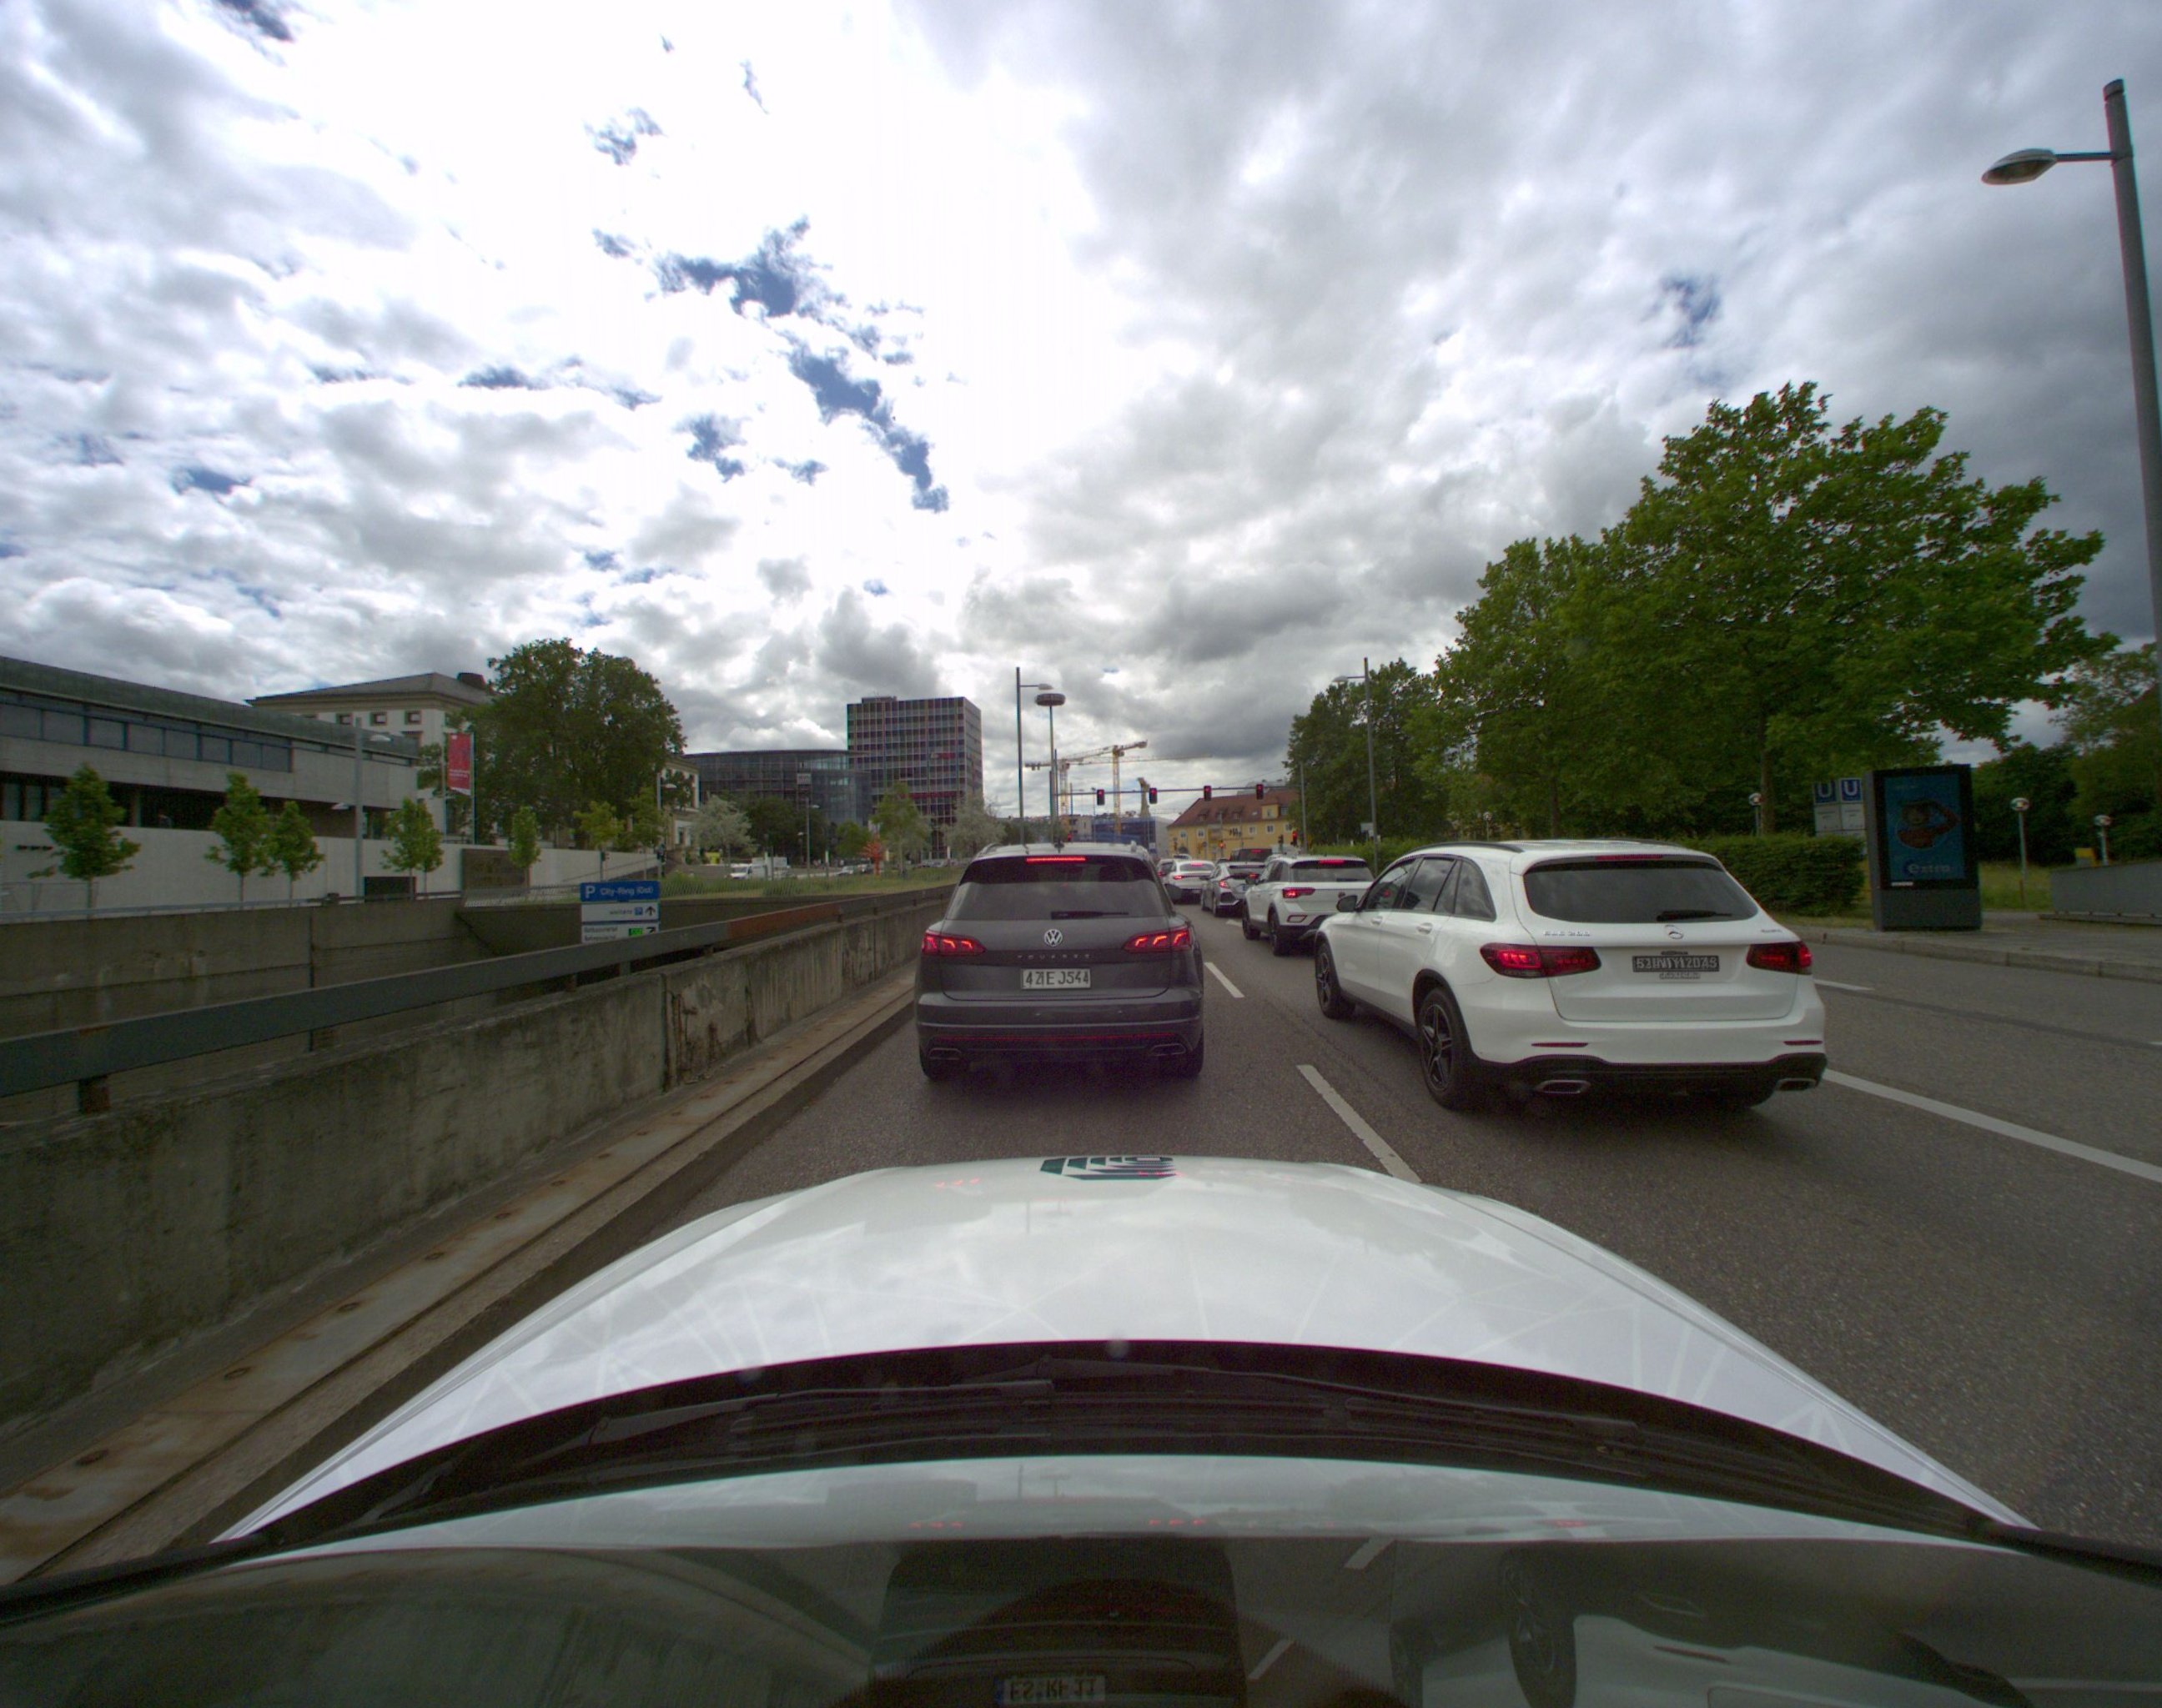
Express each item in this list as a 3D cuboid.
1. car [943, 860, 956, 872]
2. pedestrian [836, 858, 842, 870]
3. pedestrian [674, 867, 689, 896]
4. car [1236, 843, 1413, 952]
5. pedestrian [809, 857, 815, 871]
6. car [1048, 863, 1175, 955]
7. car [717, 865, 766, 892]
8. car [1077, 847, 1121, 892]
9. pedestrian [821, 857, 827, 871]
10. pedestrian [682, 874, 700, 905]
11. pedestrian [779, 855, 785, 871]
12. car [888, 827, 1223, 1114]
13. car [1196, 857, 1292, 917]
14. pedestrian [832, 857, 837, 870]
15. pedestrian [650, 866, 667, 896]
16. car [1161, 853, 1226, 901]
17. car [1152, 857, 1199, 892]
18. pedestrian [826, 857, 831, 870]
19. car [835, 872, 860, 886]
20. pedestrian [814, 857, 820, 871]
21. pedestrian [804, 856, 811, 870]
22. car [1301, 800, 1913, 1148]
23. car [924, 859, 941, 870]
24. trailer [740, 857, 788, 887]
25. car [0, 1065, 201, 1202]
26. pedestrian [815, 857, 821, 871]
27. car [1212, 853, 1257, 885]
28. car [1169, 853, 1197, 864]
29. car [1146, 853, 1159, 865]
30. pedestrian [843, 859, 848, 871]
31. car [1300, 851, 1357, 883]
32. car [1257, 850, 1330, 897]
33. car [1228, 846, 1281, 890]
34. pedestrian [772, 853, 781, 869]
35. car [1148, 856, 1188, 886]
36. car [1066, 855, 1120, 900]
[{"bbox_3d":[-24.288,2.281,150.267,1.991,2.013,4.681,-2,1,-6],"label":"car"},{"bbox_3d":[-41.885,1.746,140.975,0.739,2.013,0.789,-2,1,-14],"label":"pedestrian"},{"bbox_3d":[-28.989,1.961,59.113,0.729,2.012,0.628,-2,4,-6],"label":"pedestrian"},{"bbox_3d":[3.952,0.671,14.068,1.918,1.551,4.493,-1,-1,3],"label":"car"},{"bbox_3d":[-42.042,1.556,127.331,0.741,2.013,0.914,-2,1,-22],"label":"pedestrian"},{"bbox_3d":[0.528,0.875,14.518,1.944,1.384,3.932,0,0,1],"label":"car"},{"bbox_3d":[-28.824,2.035,69.291,1.985,2.013,4.695,-2,1,3],"label":"car"},{"bbox_3d":[0.875,0.705,38.692,1.944,2.018,3.932,0,0,1],"label":"car"},{"bbox_3d":[-40.080,1.565,126.878,0.741,2.013,1.076,-2,1,-20],"label":"pedestrian"},{"bbox_3d":[-26.218,2.371,54.724,0.867,2.013,0.621,-2,1,-42],"label":"pedestrian"},{"bbox_3d":[-39.072,1.132,106.393,0.740,2.014,0.788,-1,-3,-17],"label":"pedestrian"},{"bbox_3d":[-0.096,0.699,6.792,1.944,1.651,4.001,-1,0,1],"label":"car"},{"bbox_3d":[4.318,0.846,22.232,1.918,1.432,4.493,-1,-1,3],"label":"car"},{"bbox_3d":[-39.370,1.529,130.070,0.739,2.013,0.789,-2,1,-14],"label":"pedestrian"},{"bbox_3d":[-28.649,1.837,55.256,0.841,2.013,0.784,-2,0,-39],"label":"pedestrian"},{"bbox_3d":[3.905,0.788,28.973,1.918,1.529,4.493,-1,-1,3],"label":"car"},{"bbox_3d":[4.340,0.931,37.788,1.918,1.529,4.050,-1,-1,3],"label":"car"},{"bbox_3d":[-39.953,1.492,128.841,0.739,2.013,0.789,-2,1,-14],"label":"pedestrian"},{"bbox_3d":[-25.486,2.727,89.000,1.727,1.495,3.594,0,-2,0],"label":"car"},{"bbox_3d":[-40.804,1.525,126.018,0.740,2.013,0.915,-2,1,-17],"label":"pedestrian"},{"bbox_3d":[-40.860,1.378,121.647,0.735,2.013,0.793,-2,1,2],"label":"pedestrian"},{"bbox_3d":[3.150,0.605,6.209,1.918,1.653,4.493,-1,-1,3],"label":"car"},{"bbox_3d":[-29.917,2.083,164.430,2.005,2.013,4.648,-2,1,-28],"label":"car"},{"bbox_3d":[-28.866,1.606,74.393,2.030,2.604,5.511,0,0,2],"label":"trailer"},{"bbox_3d":[-19.645,5.225,14.906,2.155,1.767,4.394,-3,-4,1],"label":"car"},{"bbox_3d":[-41.031,1.551,127.020,0.741,2.013,0.915,-2,1,-19],"label":"pedestrian"},{"bbox_3d":[8.344,0.813,44.646,1.902,1.697,4.014,0,-1,3],"label":"car"},{"bbox_3d":[16.073,0.747,128.329,4.173,1.603,1.764,-1,-2,38],"label":"car"},{"bbox_3d":[9.709,0.708,111.428,1.612,1.627,4.002,0,-2,3],"label":"car"},{"bbox_3d":[-40.825,1.831,141.221,0.739,2.013,0.789,-2,1,-14],"label":"pedestrian"},{"bbox_3d":[12.055,0.653,39.955,1.921,1.460,4.535,0,-1,7],"label":"car"},{"bbox_3d":[8.068,0.706,31.362,1.984,1.640,4.310,-1,0,5],"label":"car"},{"bbox_3d":[8.261,0.678,39.066,1.902,2.014,4.014,0,-1,3],"label":"car"},{"bbox_3d":[-40.077,0.896,107.234,0.737,2.013,1.113,-2,1,-3],"label":"pedestrian"},{"bbox_3d":[4.658,0.920,44.073,1.918,1.529,4.050,-1,-1,3],"label":"car"},{"bbox_3d":[0.478,0.868,31.160,1.944,1.600,3.932,0,0,1],"label":"car"}]
